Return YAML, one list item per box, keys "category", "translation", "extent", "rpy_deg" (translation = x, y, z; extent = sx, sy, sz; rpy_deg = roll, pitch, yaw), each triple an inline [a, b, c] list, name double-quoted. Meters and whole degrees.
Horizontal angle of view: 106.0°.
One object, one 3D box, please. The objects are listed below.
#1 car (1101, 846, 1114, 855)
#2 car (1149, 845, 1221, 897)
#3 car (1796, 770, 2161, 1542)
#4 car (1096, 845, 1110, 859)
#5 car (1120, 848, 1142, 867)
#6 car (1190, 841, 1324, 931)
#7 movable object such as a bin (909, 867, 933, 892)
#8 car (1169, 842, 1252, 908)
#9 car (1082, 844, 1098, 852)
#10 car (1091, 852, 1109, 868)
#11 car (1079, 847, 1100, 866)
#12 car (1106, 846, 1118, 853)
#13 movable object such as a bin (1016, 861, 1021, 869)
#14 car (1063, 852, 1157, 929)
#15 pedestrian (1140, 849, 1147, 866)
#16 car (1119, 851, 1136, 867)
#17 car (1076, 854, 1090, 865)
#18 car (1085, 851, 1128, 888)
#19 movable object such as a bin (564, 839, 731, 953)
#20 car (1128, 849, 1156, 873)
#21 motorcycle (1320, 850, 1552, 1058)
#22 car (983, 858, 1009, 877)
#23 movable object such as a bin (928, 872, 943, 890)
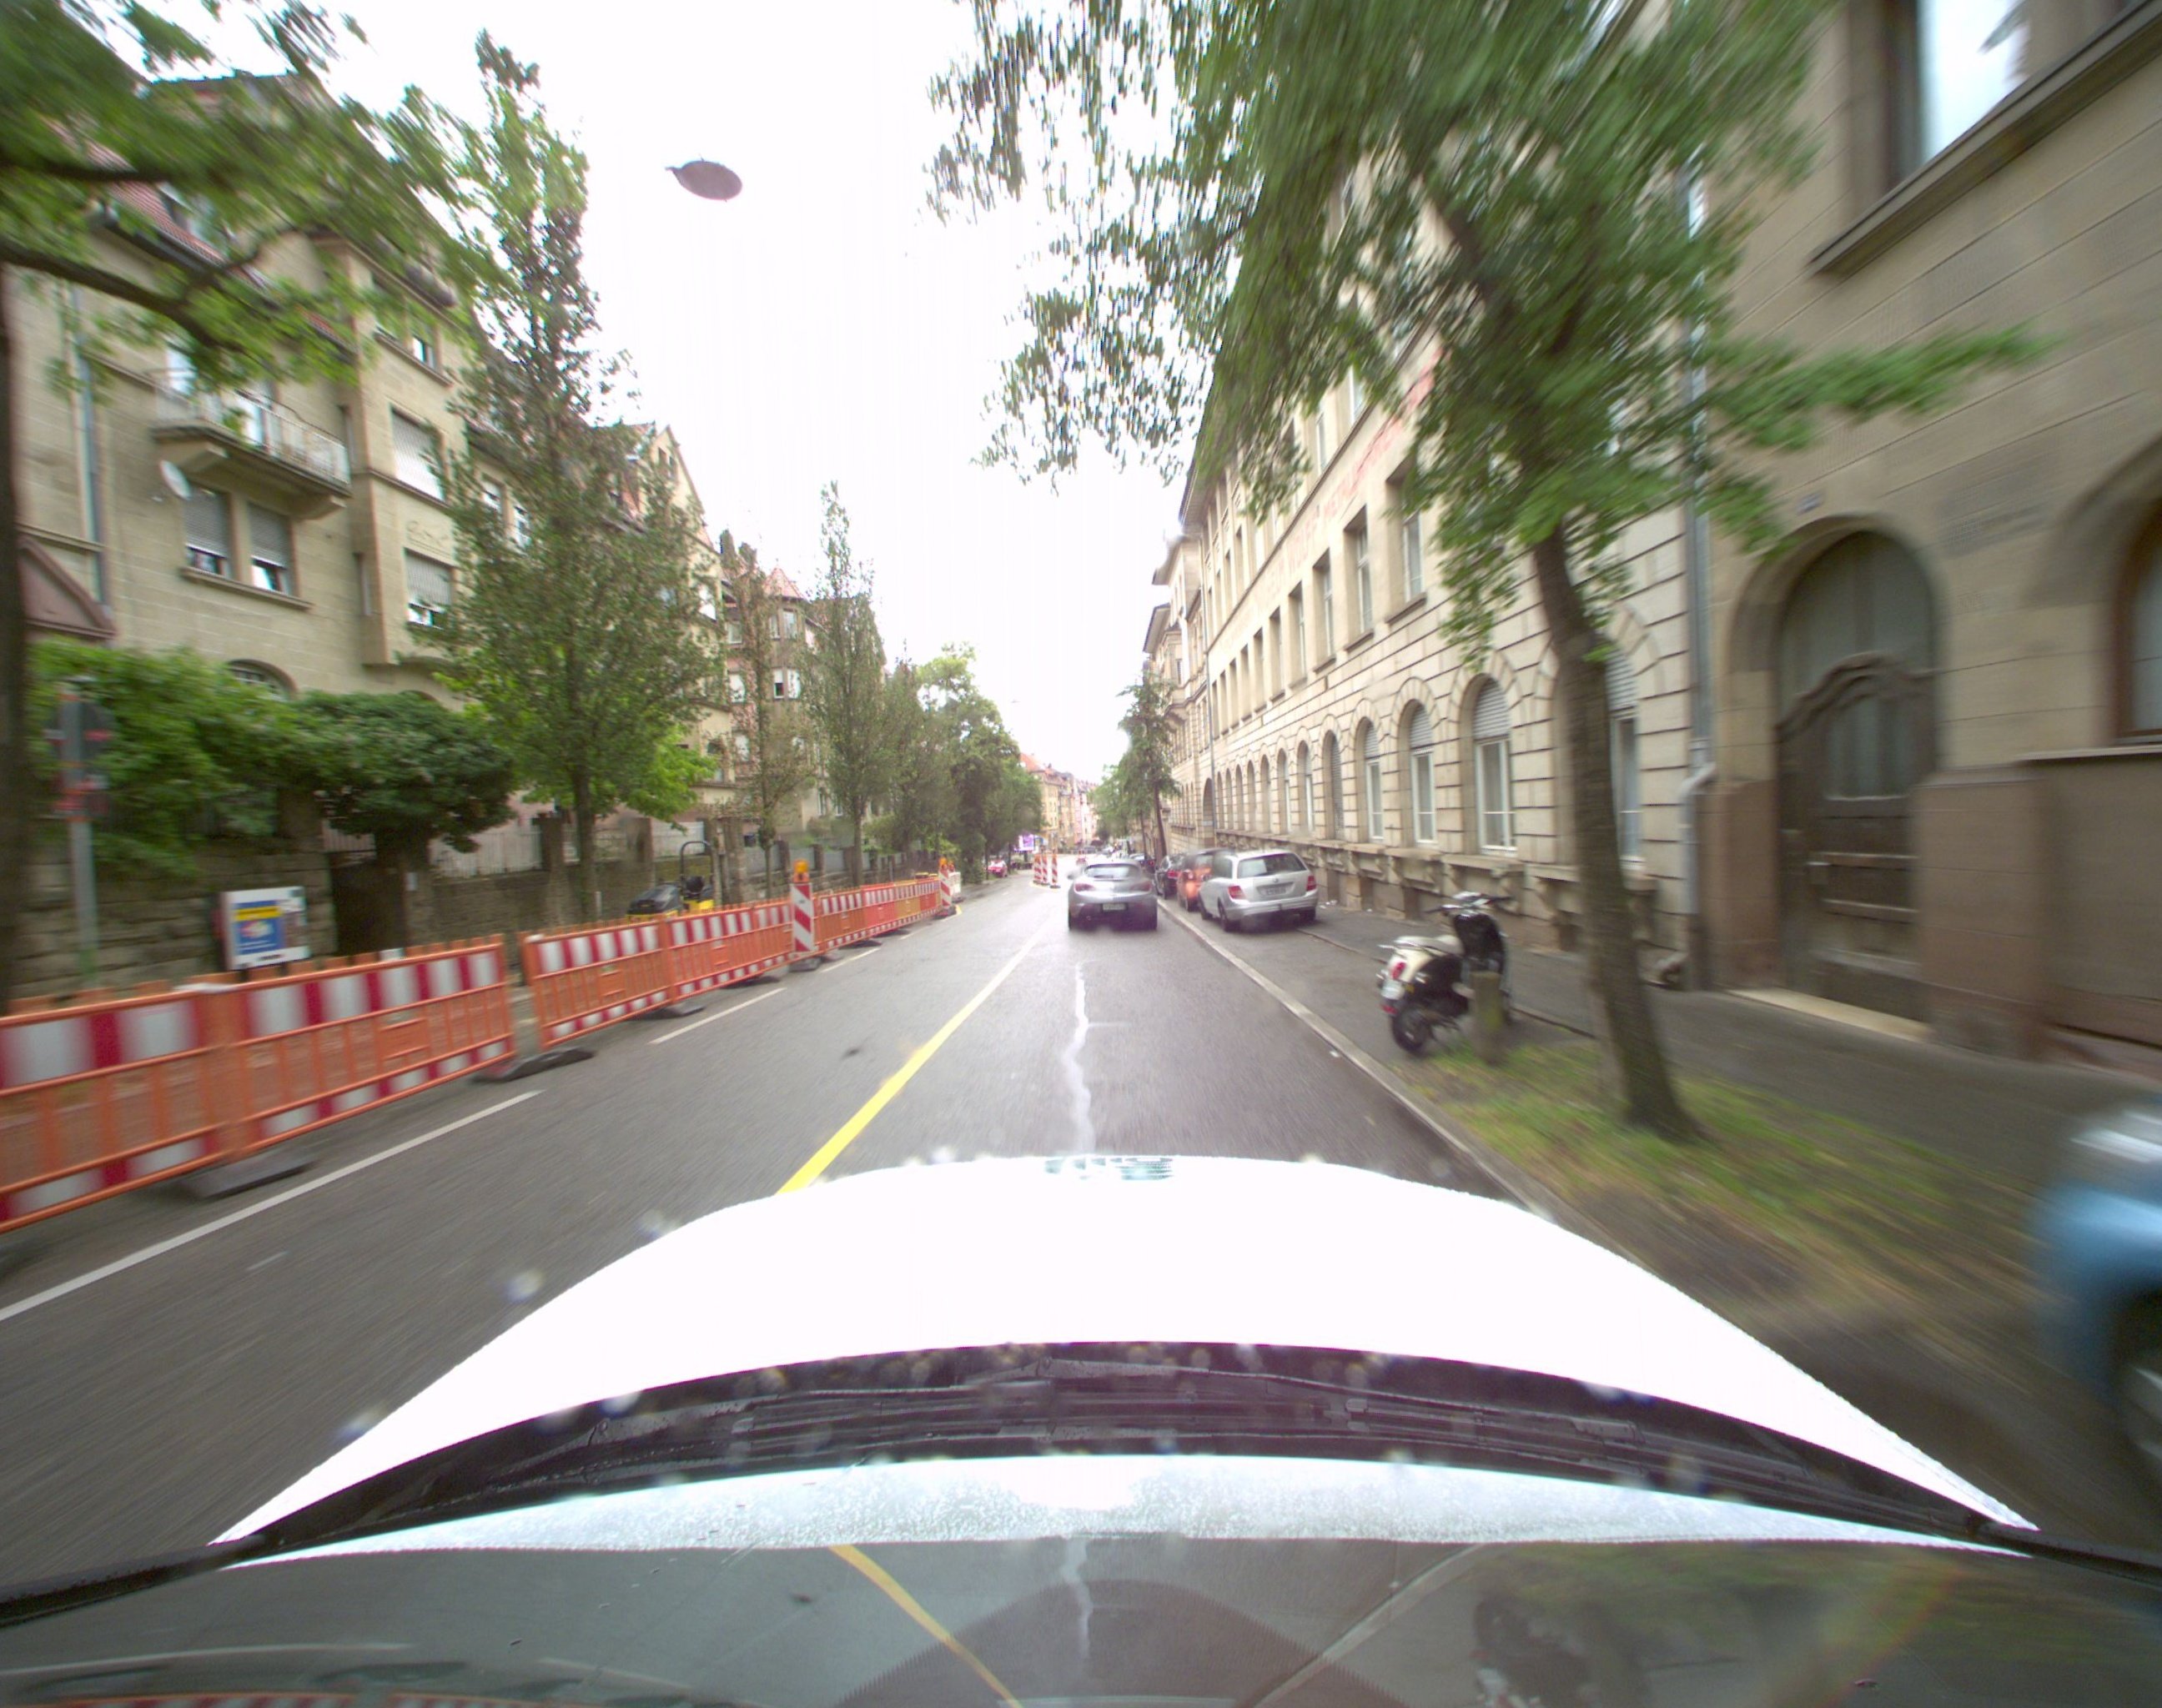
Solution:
- category: "car"
  translation: [5.299, -0.745, 164.564]
  extent: [1.980, 1.684, 4.013]
  rpy_deg: [0, 0, 11]
- category: "car"
  translation: [3.461, 0.512, 27.904]
  extent: [1.752, 1.461, 4.723]
  rpy_deg: [-5, 0, 0]
- category: "car"
  translation: [2.912, 0.547, 0.512]
  extent: [1.651, 1.543, 3.666]
  rpy_deg: [-5, 0, 1]
- category: "car"
  translation: [2.877, -0.255, 105.993]
  extent: [1.650, 1.782, 3.667]
  rpy_deg: [-2, 0, 2]
- category: "car"
  translation: [4.602, 0.341, 74.700]
  extent: [1.632, 1.602, 3.856]
  rpy_deg: [-3, 0, -1]
- category: "car"
  translation: [3.430, 0.555, 16.666]
  extent: [1.689, 1.431, 4.422]
  rpy_deg: [-5, 0, 0]
- category: "movable object such as a bin"
  translation: [-7.931, 1.256, 40.370]
  extent: [0.941, 1.214, 0.856]
  rpy_deg: [-1, 0, 2]
- category: "car"
  translation: [3.425, 0.521, 22.075]
  extent: [1.633, 1.520, 3.183]
  rpy_deg: [-5, 0, 0]
- category: "car"
  translation: [2.197, -1.494, 203.485]
  extent: [3.973, 1.750, 2.000]
  rpy_deg: [0, 0, 1]
- category: "car"
  translation: [2.011, 0.628, 87.324]
  extent: [1.652, 1.543, 3.664]
  rpy_deg: [-5, 0, -1]
- category: "car"
  translation: [0.786, 0.202, 74.211]
  extent: [1.650, 1.543, 3.667]
  rpy_deg: [-5, 0, 2]
- category: "car"
  translation: [7.066, -1.002, 185.505]
  extent: [1.980, 1.684, 4.013]
  rpy_deg: [0, 0, 11]
- category: "movable object such as a bin"
  translation: [-8.569, 1.532, 111.946]
  extent: [0.624, 1.058, 0.633]
  rpy_deg: [0, 0, -5]
- category: "car"
  translation: [0.658, 0.712, 17.883]
  extent: [1.804, 1.449, 3.872]
  rpy_deg: [-1, 1, 2]
- category: "pedestrian"
  translation: [6.701, 0.379, 86.923]
  extent: [0.713, 1.870, 0.636]
  rpy_deg: [-1, -1, 1]
- category: "car"
  translation: [5.080, 0.532, 89.460]
  extent: [1.631, 1.524, 3.859]
  rpy_deg: [-3, 0, 2]
- category: "car"
  translation: [0.355, 0.807, 121.246]
  extent: [1.987, 1.500, 4.000]
  rpy_deg: [-3, 0, 1]
- category: "car"
  translation: [1.164, 0.645, 36.220]
  extent: [1.765, 1.504, 3.872]
  rpy_deg: [-1, 1, 3]
- category: "movable object such as a bin"
  translation: [-9.695, 0.866, 18.469]
  extent: [1.984, 2.299, 2.819]
  rpy_deg: [-3, 0, 5]
- category: "car"
  translation: [4.056, 0.446, 54.751]
  extent: [1.631, 1.429, 3.377]
  rpy_deg: [-3, 0, 1]
- category: "motorcycle"
  translation: [2.763, 0.673, 6.244]
  extent: [1.947, 1.235, 0.650]
  rpy_deg: [-6, 2, -35]
- category: "car"
  translation: [-7.169, 1.095, 68.895]
  extent: [1.631, 1.439, 4.081]
  rpy_deg: [-3, 0, 2]
- category: "movable object such as a bin"
  translation: [-7.634, 1.391, 42.742]
  extent: [0.601, 0.907, 0.624]
  rpy_deg: [-1, 0, 2]
